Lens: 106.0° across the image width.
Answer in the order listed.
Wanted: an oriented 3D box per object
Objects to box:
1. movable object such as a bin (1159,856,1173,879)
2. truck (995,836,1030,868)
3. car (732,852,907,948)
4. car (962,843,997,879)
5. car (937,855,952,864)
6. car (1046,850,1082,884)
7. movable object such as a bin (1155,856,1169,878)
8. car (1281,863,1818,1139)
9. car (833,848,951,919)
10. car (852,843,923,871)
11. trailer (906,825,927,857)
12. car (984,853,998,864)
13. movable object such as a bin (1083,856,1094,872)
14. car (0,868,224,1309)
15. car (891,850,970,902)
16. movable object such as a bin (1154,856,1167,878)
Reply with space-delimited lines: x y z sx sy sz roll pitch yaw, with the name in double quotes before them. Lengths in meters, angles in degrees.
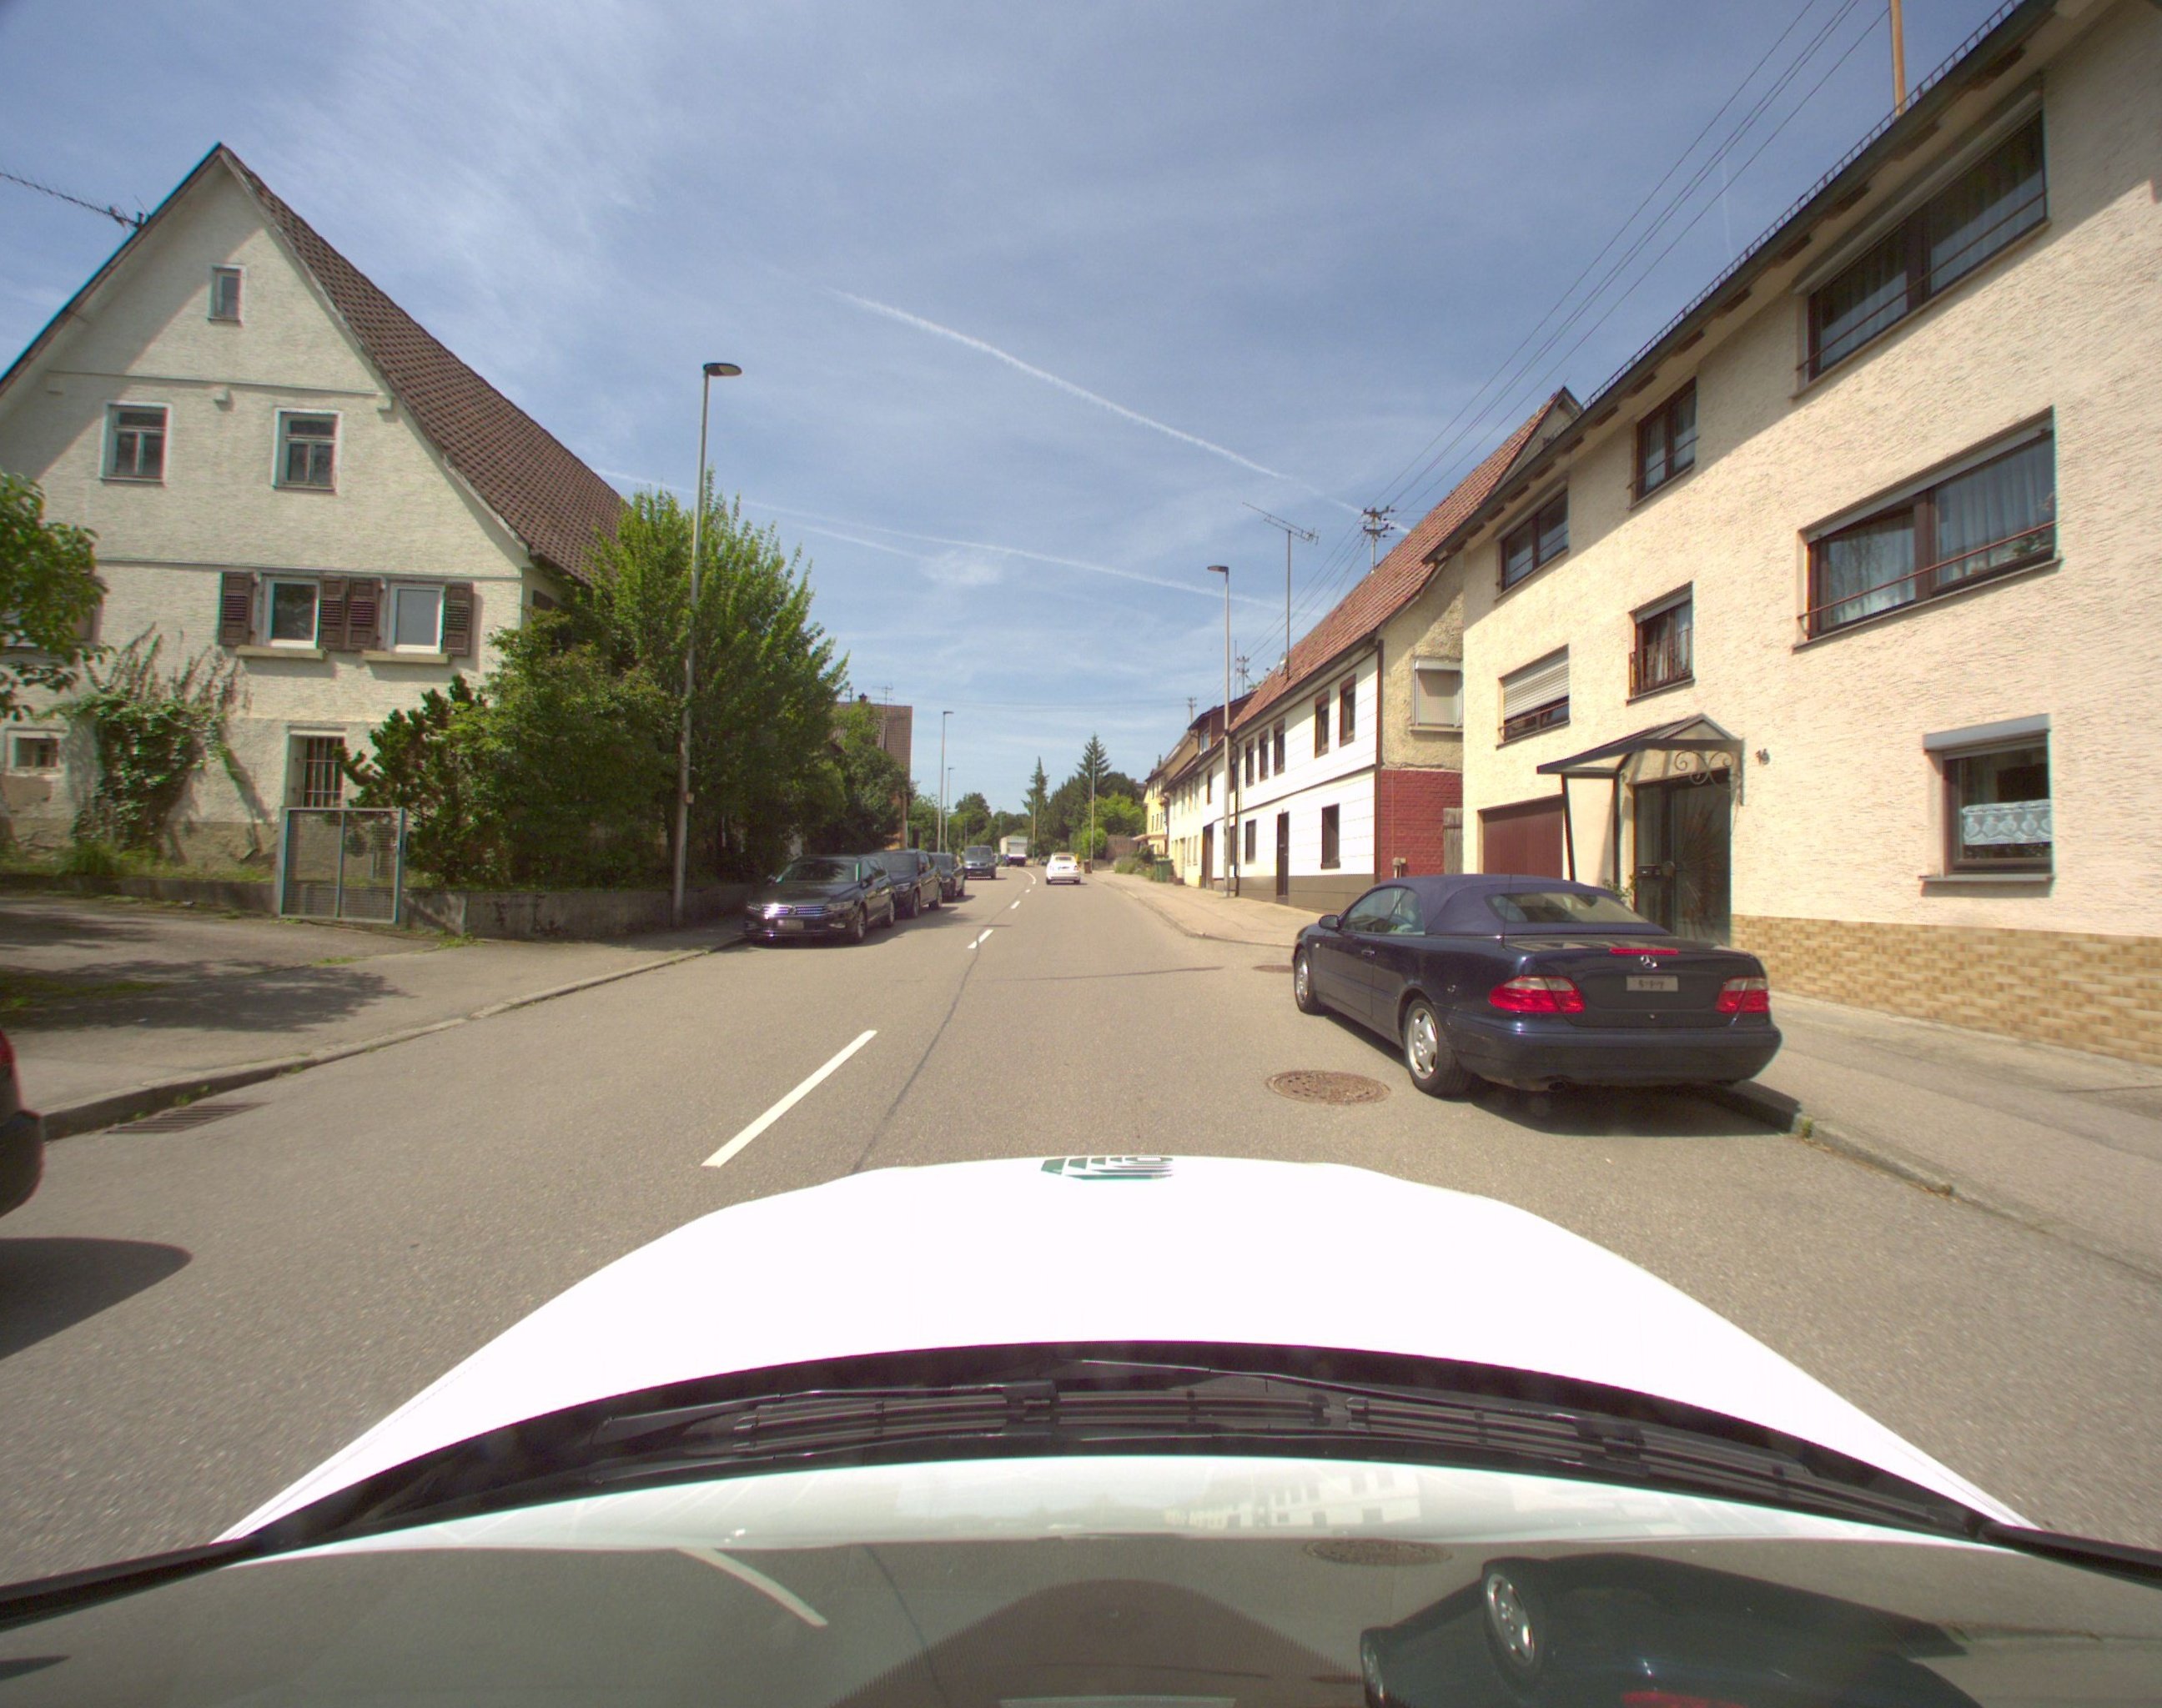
"movable object such as a bin" 3.952 0.646 38.013 0.545 1.033 0.551 -2 0 -3
"truck" -8.652 -0.212 101.647 3.073 3.774 7.829 0 -1 -14
"car" -4.511 0.708 14.870 1.784 1.463 4.709 0 0 -2
"car" -5.904 0.404 47.685 1.888 1.937 4.975 -1 0 -6
"car" -21.131 0.906 125.781 1.808 1.398 3.978 1 -1 -16
"car" -0.863 0.617 40.246 1.720 1.560 3.997 0 0 -2
"movable object such as a bin" 3.895 0.638 39.202 0.545 1.033 0.551 -2 0 -3
"car" 2.930 0.779 6.268 1.661 1.352 4.184 1 0 -1
"car" -4.460 0.633 19.889 1.749 1.521 4.302 0 1 1
"car" -12.411 0.177 52.393 4.230 1.405 1.814 5 -1 -11
"trailer" -15.416 -1.196 76.540 1.712 2.848 6.154 1 0 -9
"car" -14.559 0.702 131.805 1.537 1.670 3.978 2 0 -16
"movable object such as a bin" 0.512 0.679 55.755 0.490 1.033 0.551 -3 0 18
"car" -4.532 0.802 0.888 1.797 1.423 4.932 0 1 3
"car" -4.677 0.623 25.960 1.815 1.473 4.771 0 0 -3
"movable object such as a bin" 3.870 0.629 39.789 0.545 1.033 0.551 -2 0 -3
